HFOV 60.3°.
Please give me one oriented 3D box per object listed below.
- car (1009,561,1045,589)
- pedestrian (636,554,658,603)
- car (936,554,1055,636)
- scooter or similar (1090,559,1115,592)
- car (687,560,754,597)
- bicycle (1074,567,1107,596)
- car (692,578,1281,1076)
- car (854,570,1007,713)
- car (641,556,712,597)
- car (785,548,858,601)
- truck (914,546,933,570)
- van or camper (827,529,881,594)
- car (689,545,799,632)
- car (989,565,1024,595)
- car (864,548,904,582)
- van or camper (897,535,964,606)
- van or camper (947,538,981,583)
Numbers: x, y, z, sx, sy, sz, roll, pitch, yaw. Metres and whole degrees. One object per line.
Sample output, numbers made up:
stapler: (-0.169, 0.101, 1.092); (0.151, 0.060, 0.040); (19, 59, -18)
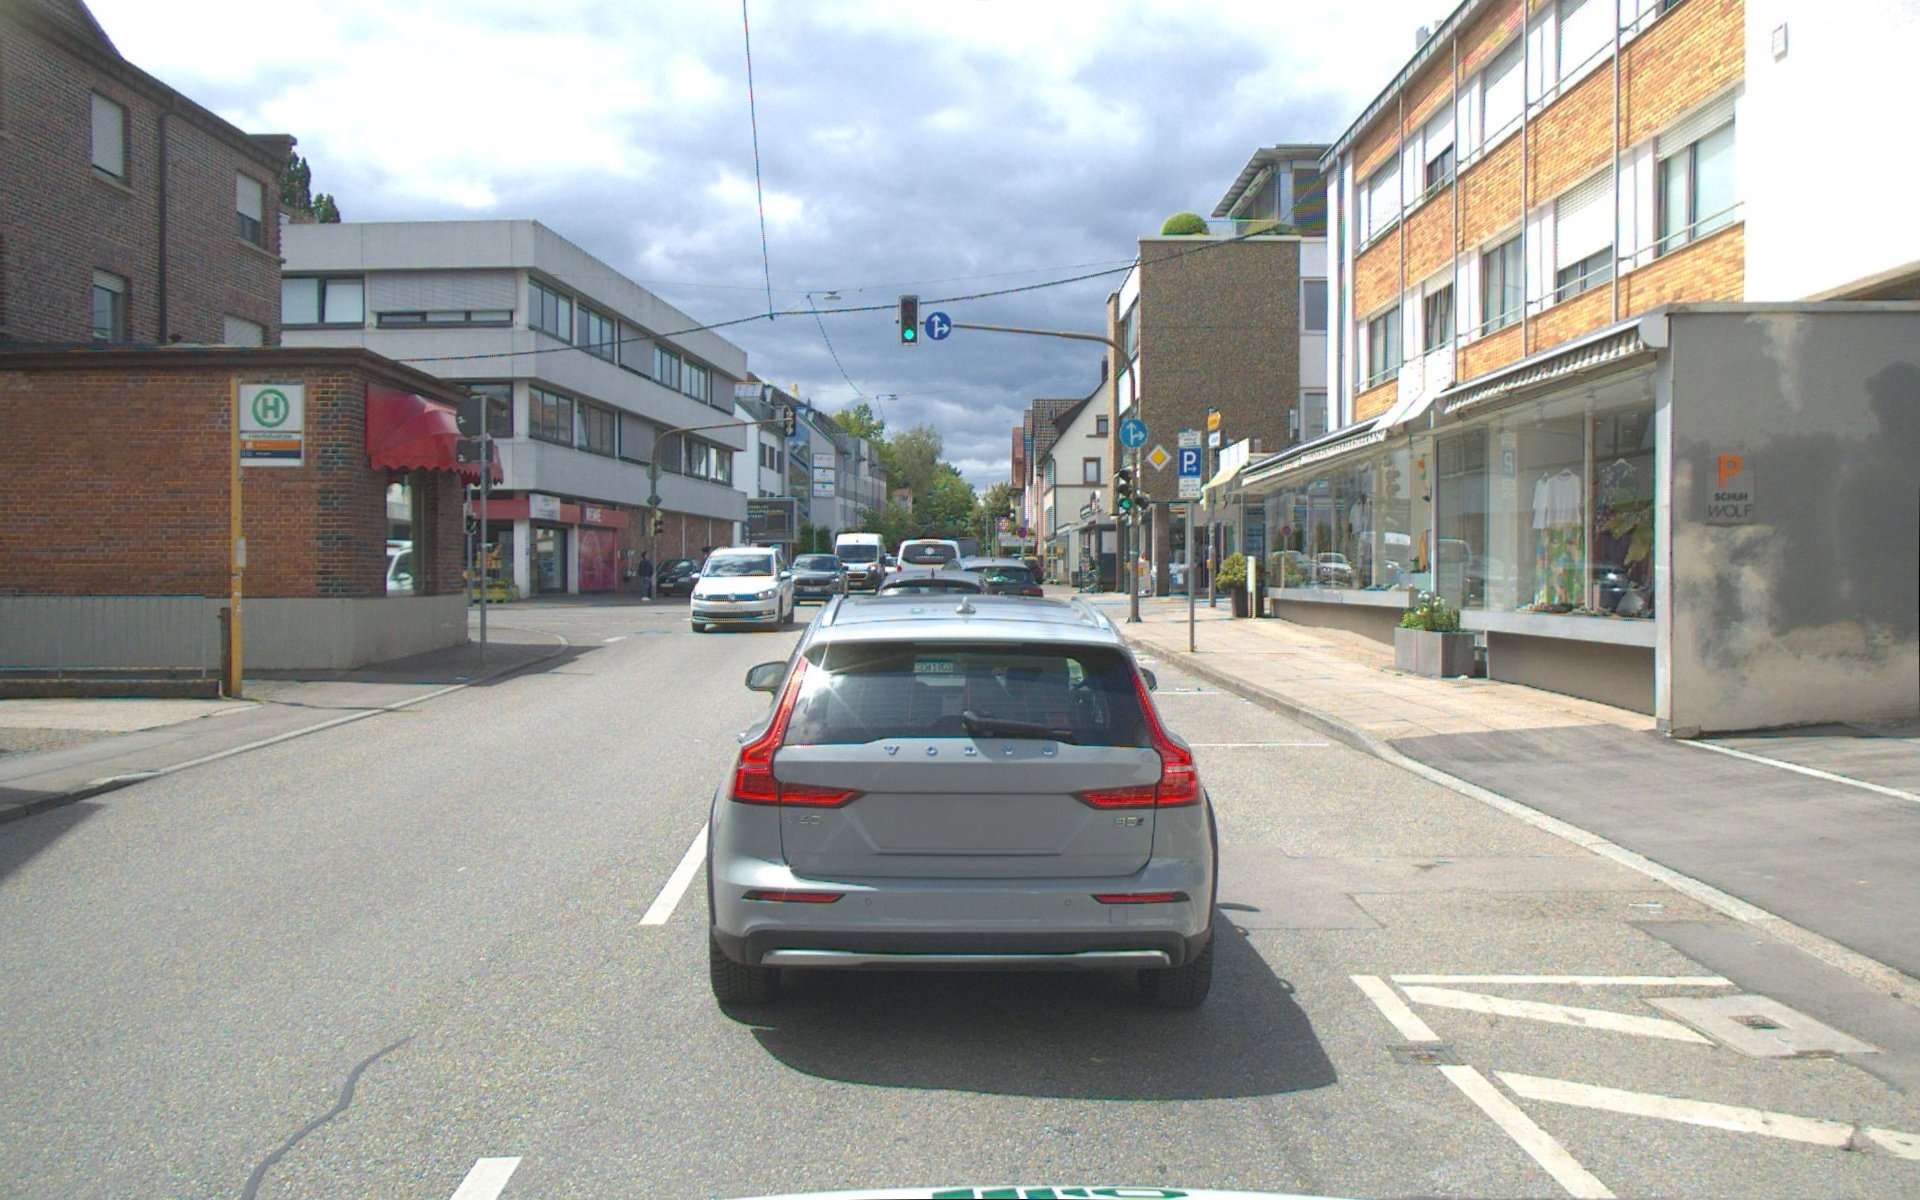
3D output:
car: (3.771, -1.392, 93.332); (1.676, 1.490, 3.998); (1, 0, -2)
pedestrian: (-10.781, -0.730, 56.977); (0.606, 1.670, 0.660); (-1, 1, 1)
car: (0.570, -0.103, 29.772); (1.772, 1.370, 3.714); (0, 0, -5)
scooter or similar: (5.625, -0.970, 65.299); (0.336, 1.275, 1.235); (-3, 1, -26)
car: (-10.053, -0.942, 69.775); (1.864, 1.468, 4.446); (1, 1, 4)
bicycle: (5.388, -0.784, 68.448); (0.546, 1.164, 2.289); (-1, 1, -18)
car: (0.055, 0.682, 7.051); (1.798, 1.512, 3.999); (0, 0, -1)
car: (-0.338, 0.415, 19.452); (1.617, 1.508, 3.607); (1, 1, -1)
car: (-10.875, -0.898, 63.692); (1.747, 1.490, 4.089); (1, 1, 3)
car: (-4.134, -0.748, 49.823); (1.753, 1.537, 3.846); (0, 0, 2)
truck: (-4.678, -5.430, 212.786); (2.229, 2.936, 7.080); (-1, 1, 0)
van or camper: (-4.460, -1.683, 70.270); (2.105, 2.600, 5.436); (-1, 2, -2)
car: (-4.386, -0.292, 34.077); (1.739, 1.640, 4.120); (-1, 2, -1)
car: (2.035, -0.865, 72.801); (1.409, 1.310, 3.247); (0, 0, -1)
car: (-3.842, -1.781, 83.777); (1.744, 1.668, 4.221); (-2, 1, 1)
van or camper: (-0.814, -0.782, 46.220); (1.782, 1.867, 3.999); (0, -1, -1)
van or camper: (0.252, -2.523, 105.182); (2.080, 2.733, 4.782); (-1, 1, 0)
